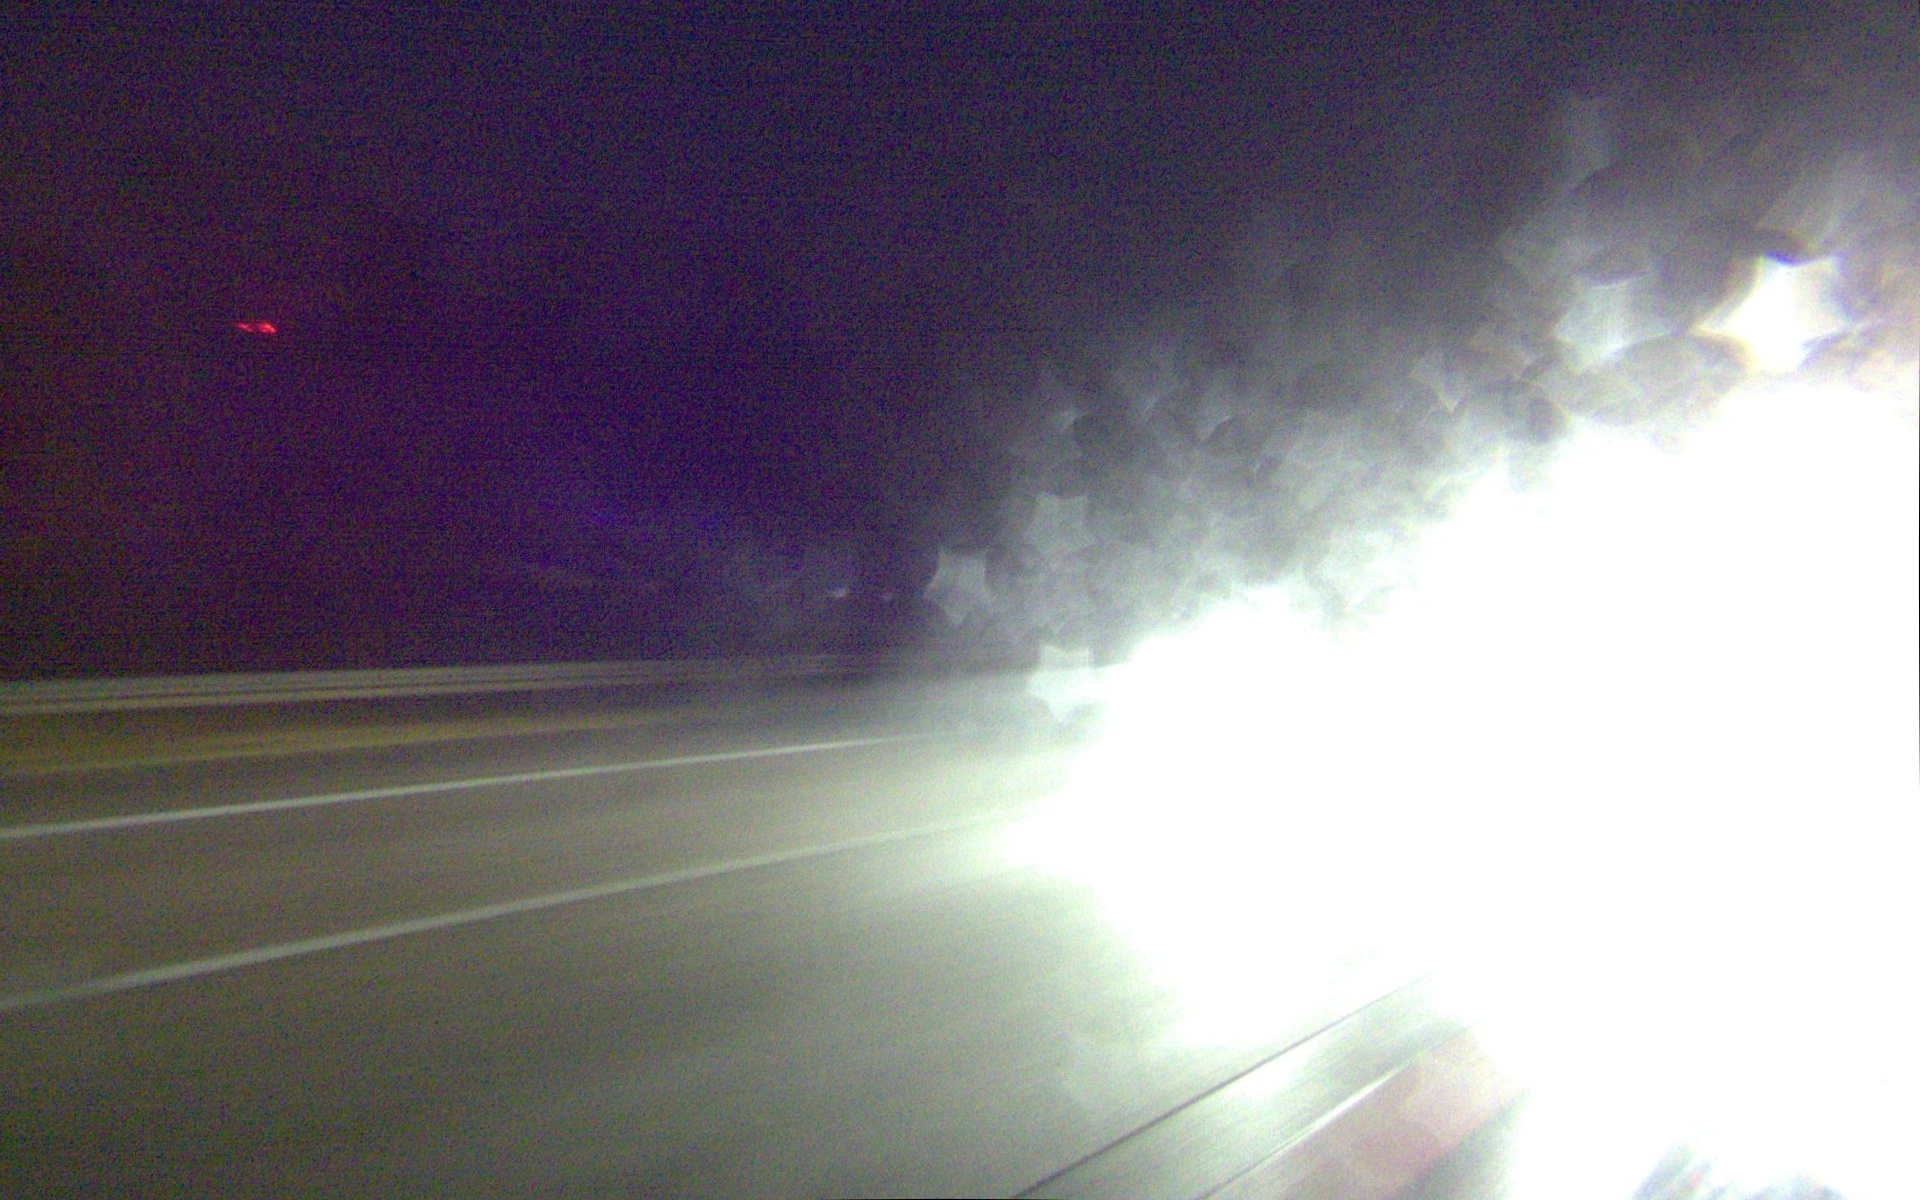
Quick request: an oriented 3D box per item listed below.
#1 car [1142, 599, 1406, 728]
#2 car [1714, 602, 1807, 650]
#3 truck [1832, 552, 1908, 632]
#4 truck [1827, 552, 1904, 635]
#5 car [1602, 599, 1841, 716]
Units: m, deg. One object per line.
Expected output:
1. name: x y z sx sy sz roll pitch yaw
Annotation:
1. car: 4.410 0.753 13.921 3.975 1.516 1.721 0 0 -43
2. car: 26.816 0.824 33.852 4.255 1.505 1.790 0 0 -43
3. truck: 55.298 -0.702 61.364 2.760 4.273 13.611 4 5 44
4. truck: 50.460 -0.474 56.337 2.760 4.273 6.098 4 5 44
5. car: 11.268 0.720 14.874 4.260 1.467 1.996 0 0 -42
